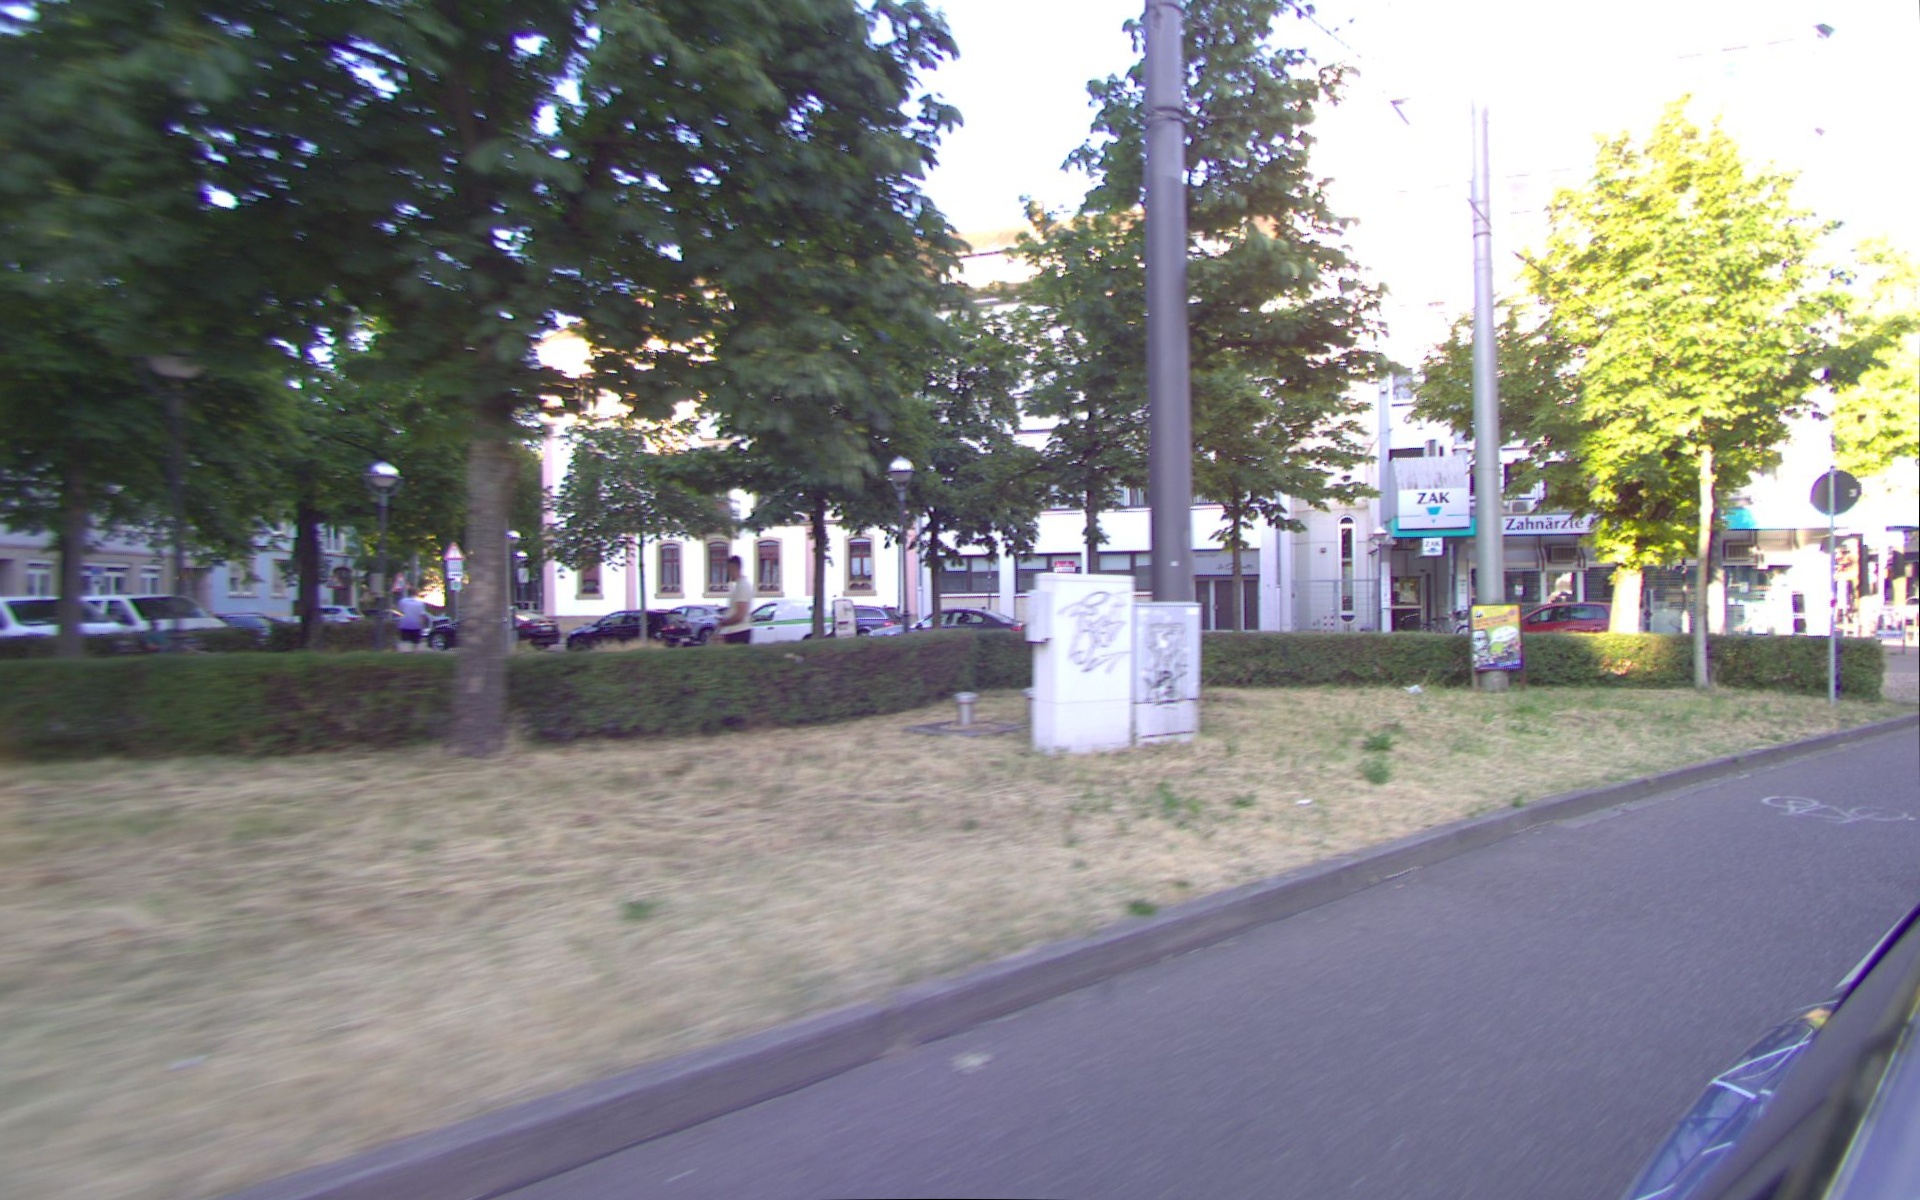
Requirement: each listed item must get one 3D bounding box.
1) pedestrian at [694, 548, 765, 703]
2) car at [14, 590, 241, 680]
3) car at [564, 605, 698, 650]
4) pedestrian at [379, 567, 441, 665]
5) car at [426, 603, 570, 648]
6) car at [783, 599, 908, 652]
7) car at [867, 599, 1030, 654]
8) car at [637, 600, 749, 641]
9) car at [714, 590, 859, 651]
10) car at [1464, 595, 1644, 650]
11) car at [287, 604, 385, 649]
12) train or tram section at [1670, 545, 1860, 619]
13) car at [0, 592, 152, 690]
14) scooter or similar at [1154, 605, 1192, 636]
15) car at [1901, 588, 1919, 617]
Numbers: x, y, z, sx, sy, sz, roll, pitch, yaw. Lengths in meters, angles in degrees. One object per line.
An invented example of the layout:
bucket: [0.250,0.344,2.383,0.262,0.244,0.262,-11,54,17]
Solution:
pedestrian: [-2.543,0.274,11.158,0.637,1.646,0.615,1,-1,-26]
car: [-20.283,0.814,24.668,5.017,2.048,1.955,0,-1,20]
car: [-10.364,0.841,31.935,3.730,1.353,1.718,0,-1,16]
pedestrian: [-11.799,0.336,21.705,0.992,2.039,0.828,1,-2,-43]
car: [-15.355,0.825,33.674,4.334,1.437,1.718,0,-1,17]
car: [-3.908,0.851,34.618,3.960,1.747,1.691,0,-1,18]
car: [-0.310,0.710,28.550,4.262,1.427,1.798,0,1,17]
car: [-9.746,0.741,36.967,3.627,1.468,1.691,0,-1,18]
car: [-5.169,0.594,30.216,3.957,1.747,1.692,0,-1,17]
car: [16.436,0.624,28.242,3.944,1.468,1.839,-1,-1,16]
car: [-33.390,1.408,54.233,3.987,2.323,2.001,0,-1,-5]
train or tram section: [44.553,-0.961,56.807,2.906,3.629,13.312,-1,0,14]
car: [-20.074,0.825,21.592,5.017,1.927,2.108,0,-1,20]
scooter or similar: [7.301,0.691,34.730,1.175,1.045,0.482,-1,-1,38]
car: [53.553,0.137,55.164,1.779,1.572,3.944,0,-1,18]
